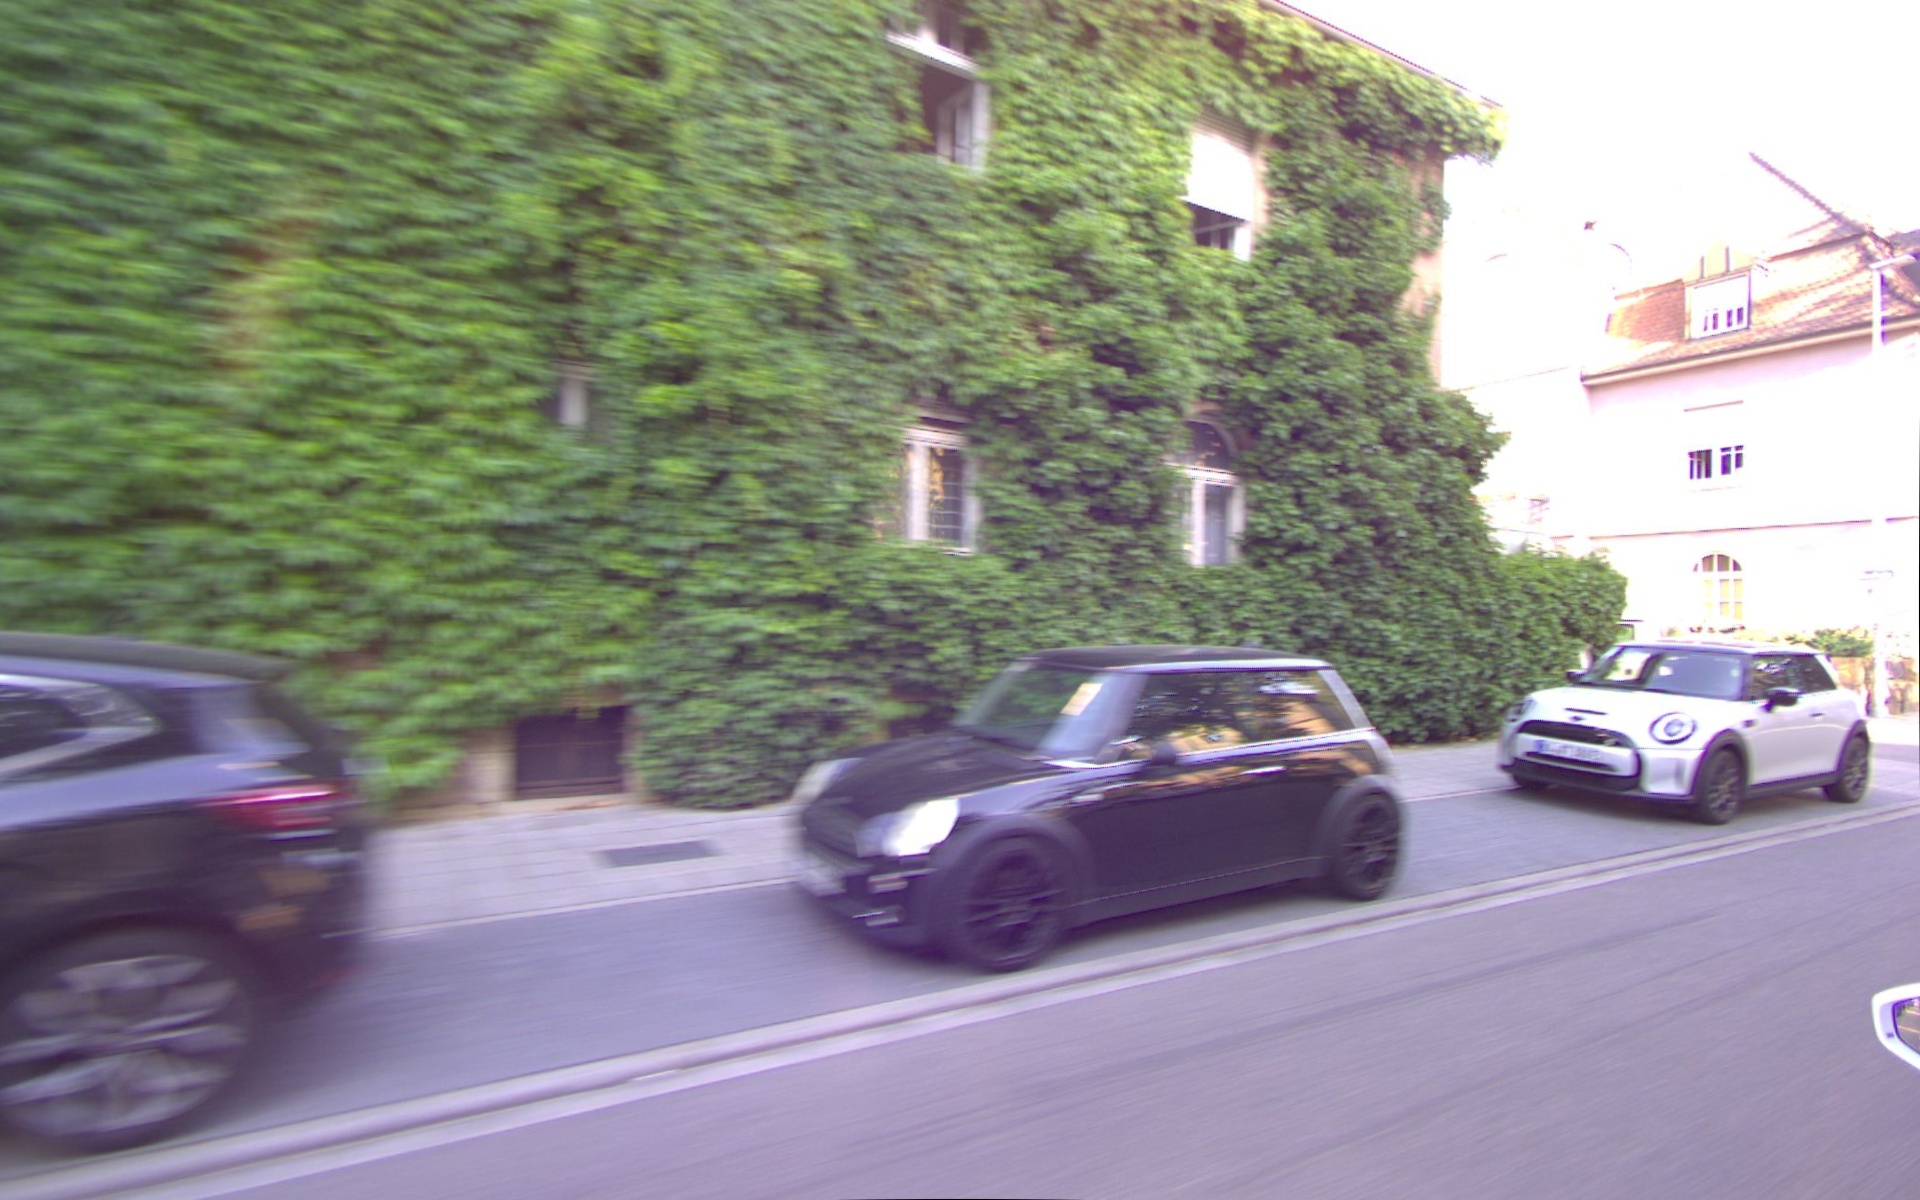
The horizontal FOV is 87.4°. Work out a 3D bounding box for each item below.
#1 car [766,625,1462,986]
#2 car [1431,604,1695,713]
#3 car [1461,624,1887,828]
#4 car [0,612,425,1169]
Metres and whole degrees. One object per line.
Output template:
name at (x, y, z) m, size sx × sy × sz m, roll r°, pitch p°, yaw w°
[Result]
car at (0.943, 0.897, 5.723) m, size 3.677 × 1.398 × 1.678 m, roll 2°, pitch 0°, yaw -30°
car at (12.667, 1.190, 21.385) m, size 1.979 × 2.040 × 4.376 m, roll 5°, pitch -3°, yaw -32°
car at (6.636, 1.019, 9.275) m, size 3.870 × 1.480 × 1.696 m, roll 2°, pitch 0°, yaw -29°
car at (-3.853, 0.763, 2.864) m, size 4.050 × 1.440 × 1.641 m, roll 2°, pitch 0°, yaw -30°
